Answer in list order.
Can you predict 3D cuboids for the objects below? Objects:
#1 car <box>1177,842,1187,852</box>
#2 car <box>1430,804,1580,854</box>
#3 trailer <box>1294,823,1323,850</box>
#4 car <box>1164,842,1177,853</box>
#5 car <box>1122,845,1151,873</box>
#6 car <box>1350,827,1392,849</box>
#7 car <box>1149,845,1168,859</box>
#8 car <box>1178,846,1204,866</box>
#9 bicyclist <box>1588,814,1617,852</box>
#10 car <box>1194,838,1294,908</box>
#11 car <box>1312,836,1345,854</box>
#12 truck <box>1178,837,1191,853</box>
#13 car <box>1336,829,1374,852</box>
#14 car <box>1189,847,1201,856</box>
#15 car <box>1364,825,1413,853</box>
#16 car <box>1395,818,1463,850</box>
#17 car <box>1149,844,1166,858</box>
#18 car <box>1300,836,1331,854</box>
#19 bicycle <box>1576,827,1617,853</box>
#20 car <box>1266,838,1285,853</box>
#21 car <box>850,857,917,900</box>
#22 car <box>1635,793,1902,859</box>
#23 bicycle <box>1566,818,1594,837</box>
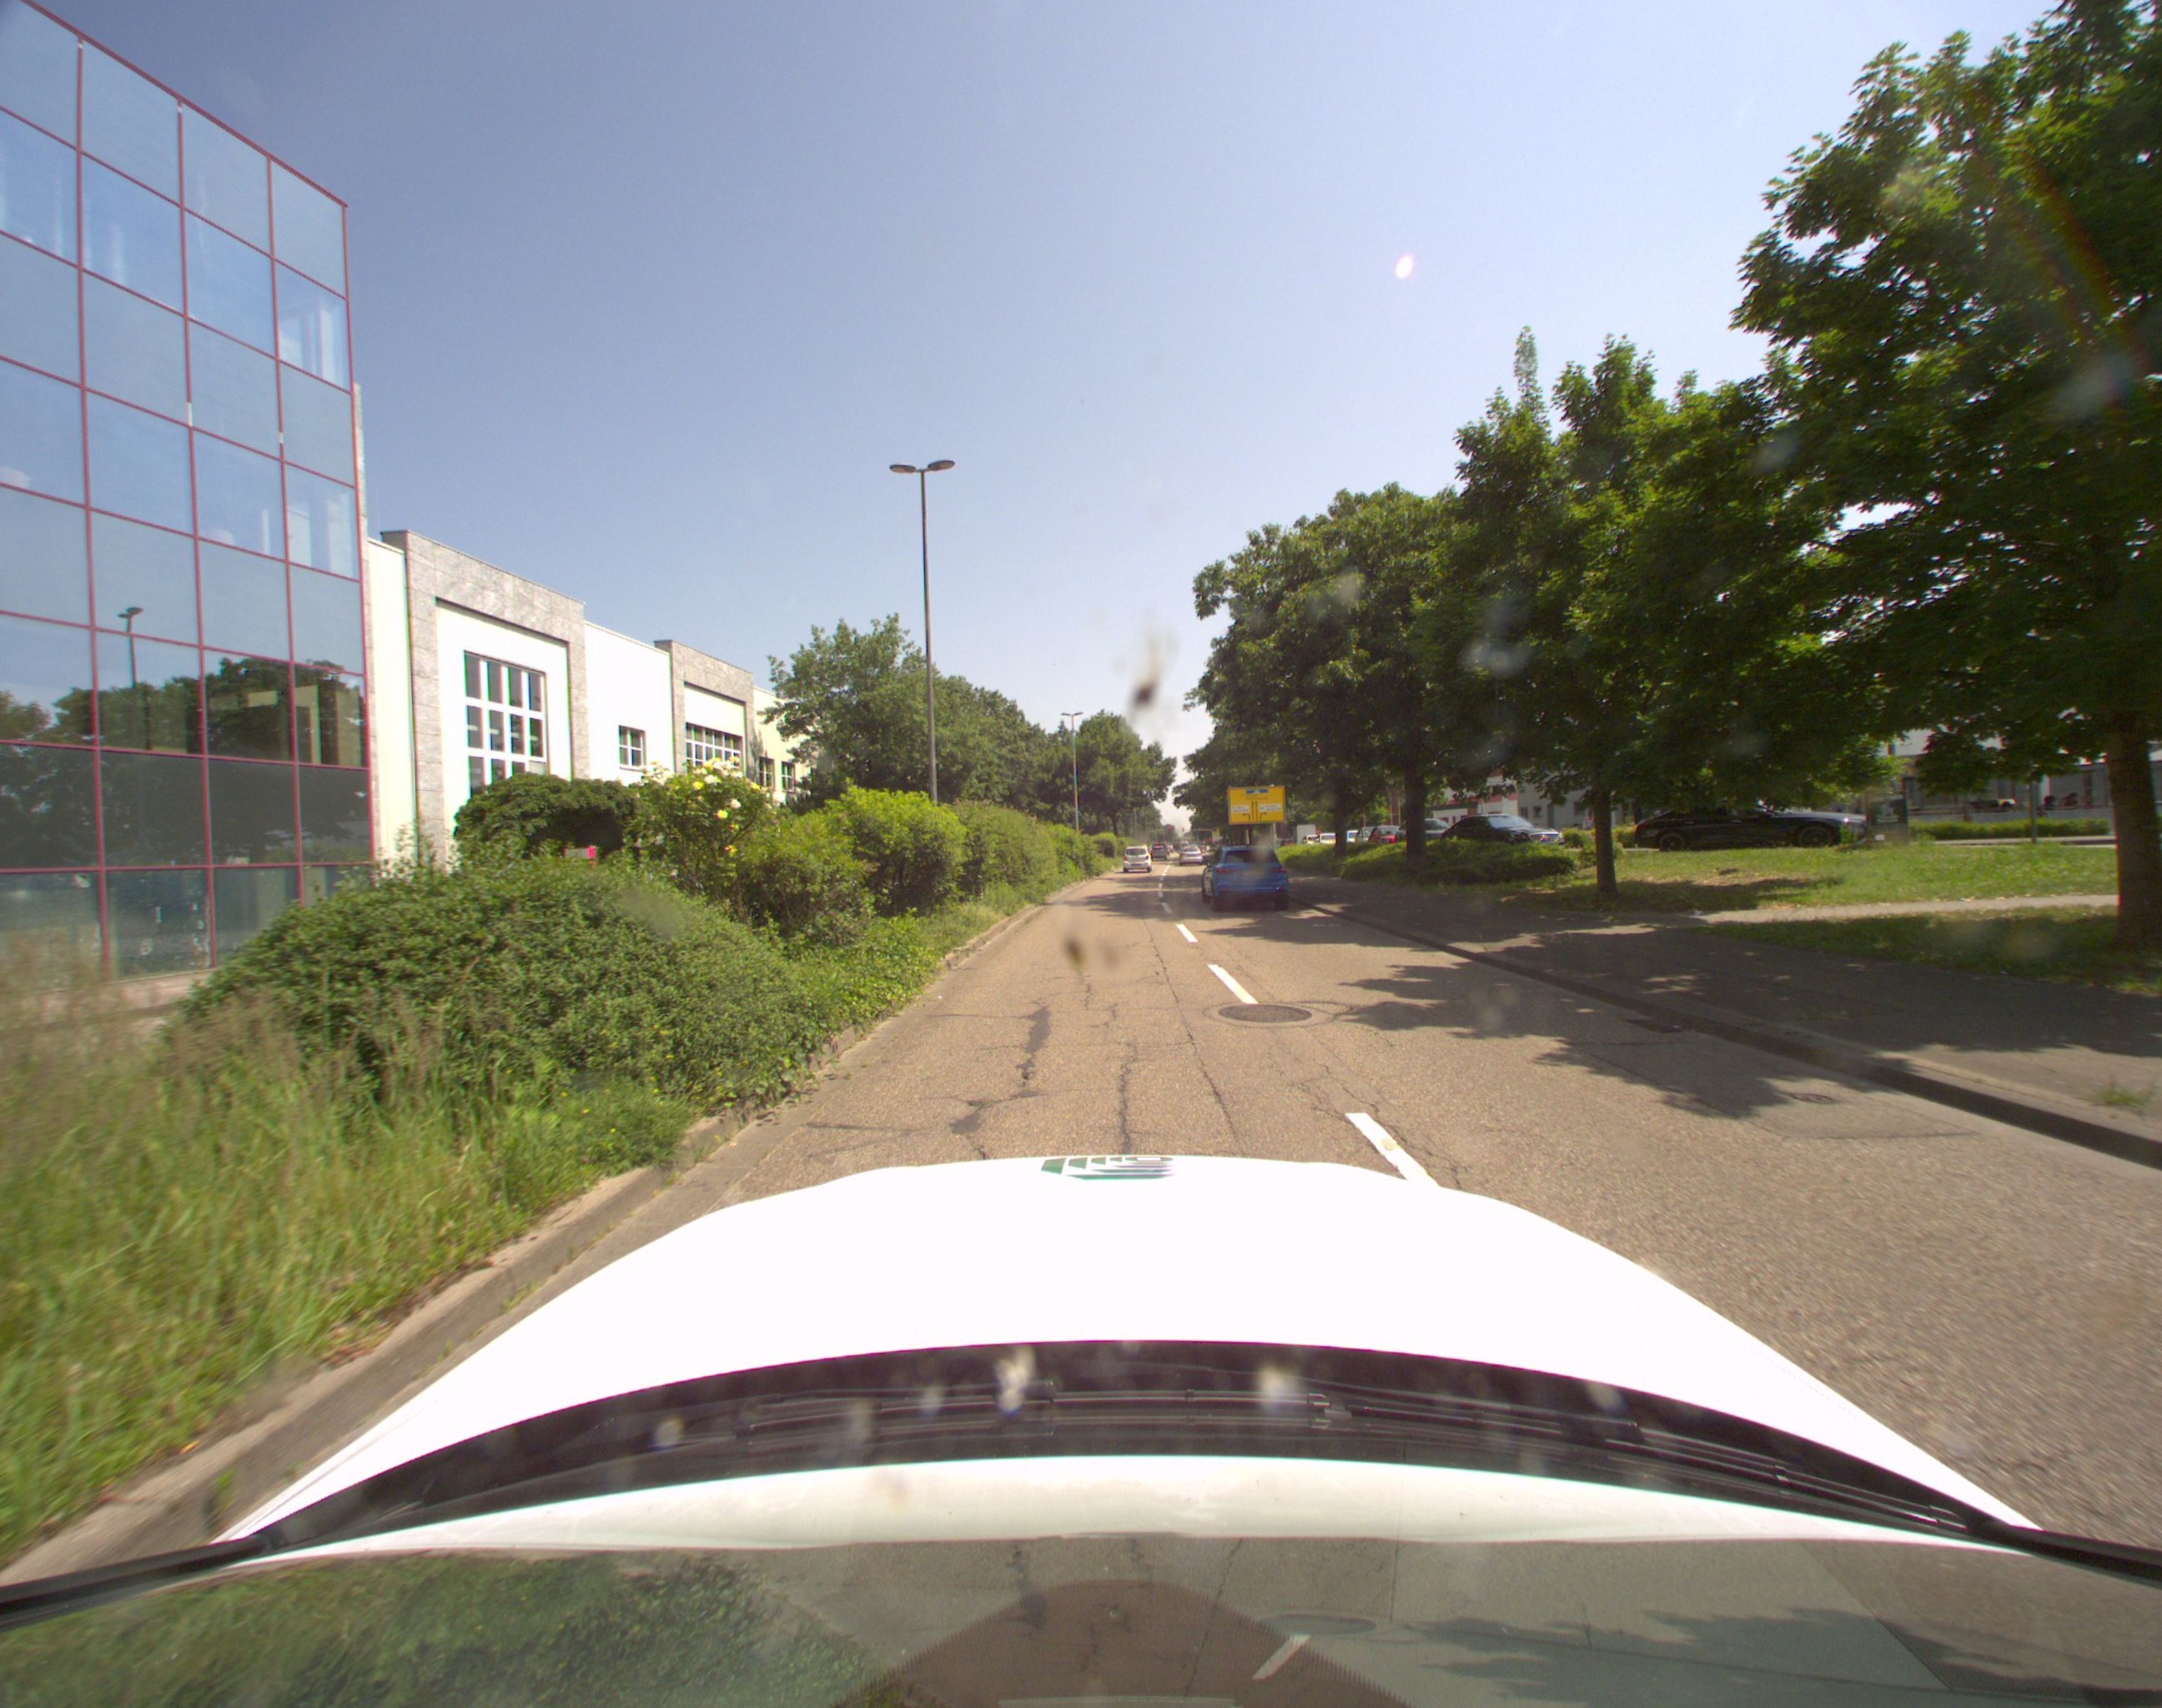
[{"bbox_3d":[23.180,-1.550,186.752,1.983,2.255,4.008,-2,0,7],"label":"car"},{"bbox_3d":[14.325,-0.769,27.993,1.902,1.451,5.592,-1,-1,-4],"label":"car"},{"bbox_3d":[18.961,-1.420,68.076,1.690,2.055,5.498,-2,0,9],"label":"trailer"},{"bbox_3d":[12.212,-0.840,111.188,1.481,1.392,3.309,-1,-1,2],"label":"car"},{"bbox_3d":[3.310,0.292,48.638,1.631,1.552,3.327,-1,-1,3],"label":"car"},{"bbox_3d":[15.772,-0.846,44.419,1.500,1.122,2.860,-1,-1,5],"label":"car"},{"bbox_3d":[8.218,-0.199,85.970,1.874,1.354,4.008,-1,-1,7],"label":"car"},{"bbox_3d":[8.355,0.155,62.012,1.856,1.473,4.007,-1,-1,7],"label":"car"},{"bbox_3d":[25.214,-1.004,39.396,0.774,1.804,0.865,-3,0,4],"label":"bicyclist"},{"bbox_3d":[4.082,0.459,21.125,1.802,1.593,4.350,-1,-1,1],"label":"car"},{"bbox_3d":[17.358,-0.576,57.183,1.585,1.158,3.745,-1,-1,7],"label":"car"},{"bbox_3d":[25.011,-2.137,196.742,2.916,3.502,9.176,-2,0,7],"label":"truck"},{"bbox_3d":[16.683,-0.798,49.680,1.609,1.253,3.877,-1,-1,10],"label":"car"},{"bbox_3d":[17.389,-0.387,124.484,1.436,1.348,3.461,-4,-1,2],"label":"car"},{"bbox_3d":[15.158,-0.696,40.290,1.609,1.253,3.774,-1,-1,10],"label":"car"},{"bbox_3d":[14.662,-0.807,34.523,1.610,1.253,4.207,0,-1,7],"label":"car"},{"bbox_3d":[9.309,-0.398,98.729,1.875,1.608,4.008,-3,0,7],"label":"car"},{"bbox_3d":[18.052,-0.669,62.846,1.611,1.253,3.636,-1,-1,6],"label":"car"},{"bbox_3d":[25.105,-0.668,39.677,0.687,1.225,2.246,-3,0,5],"label":"bicycle"},{"bbox_3d":[22.047,-0.921,92.405,1.691,1.637,3.915,-2,-1,8],"label":"car"},{"bbox_3d":[-8.357,0.985,34.702,1.724,1.637,3.474,-3,0,3],"label":"car"},{"bbox_3d":[16.899,-0.640,20.319,1.959,1.352,4.670,-3,0,-30],"label":"car"},{"bbox_3d":[28.531,-1.493,46.588,0.585,0.980,2.107,-3,0,8],"label":"bicycle"}]
